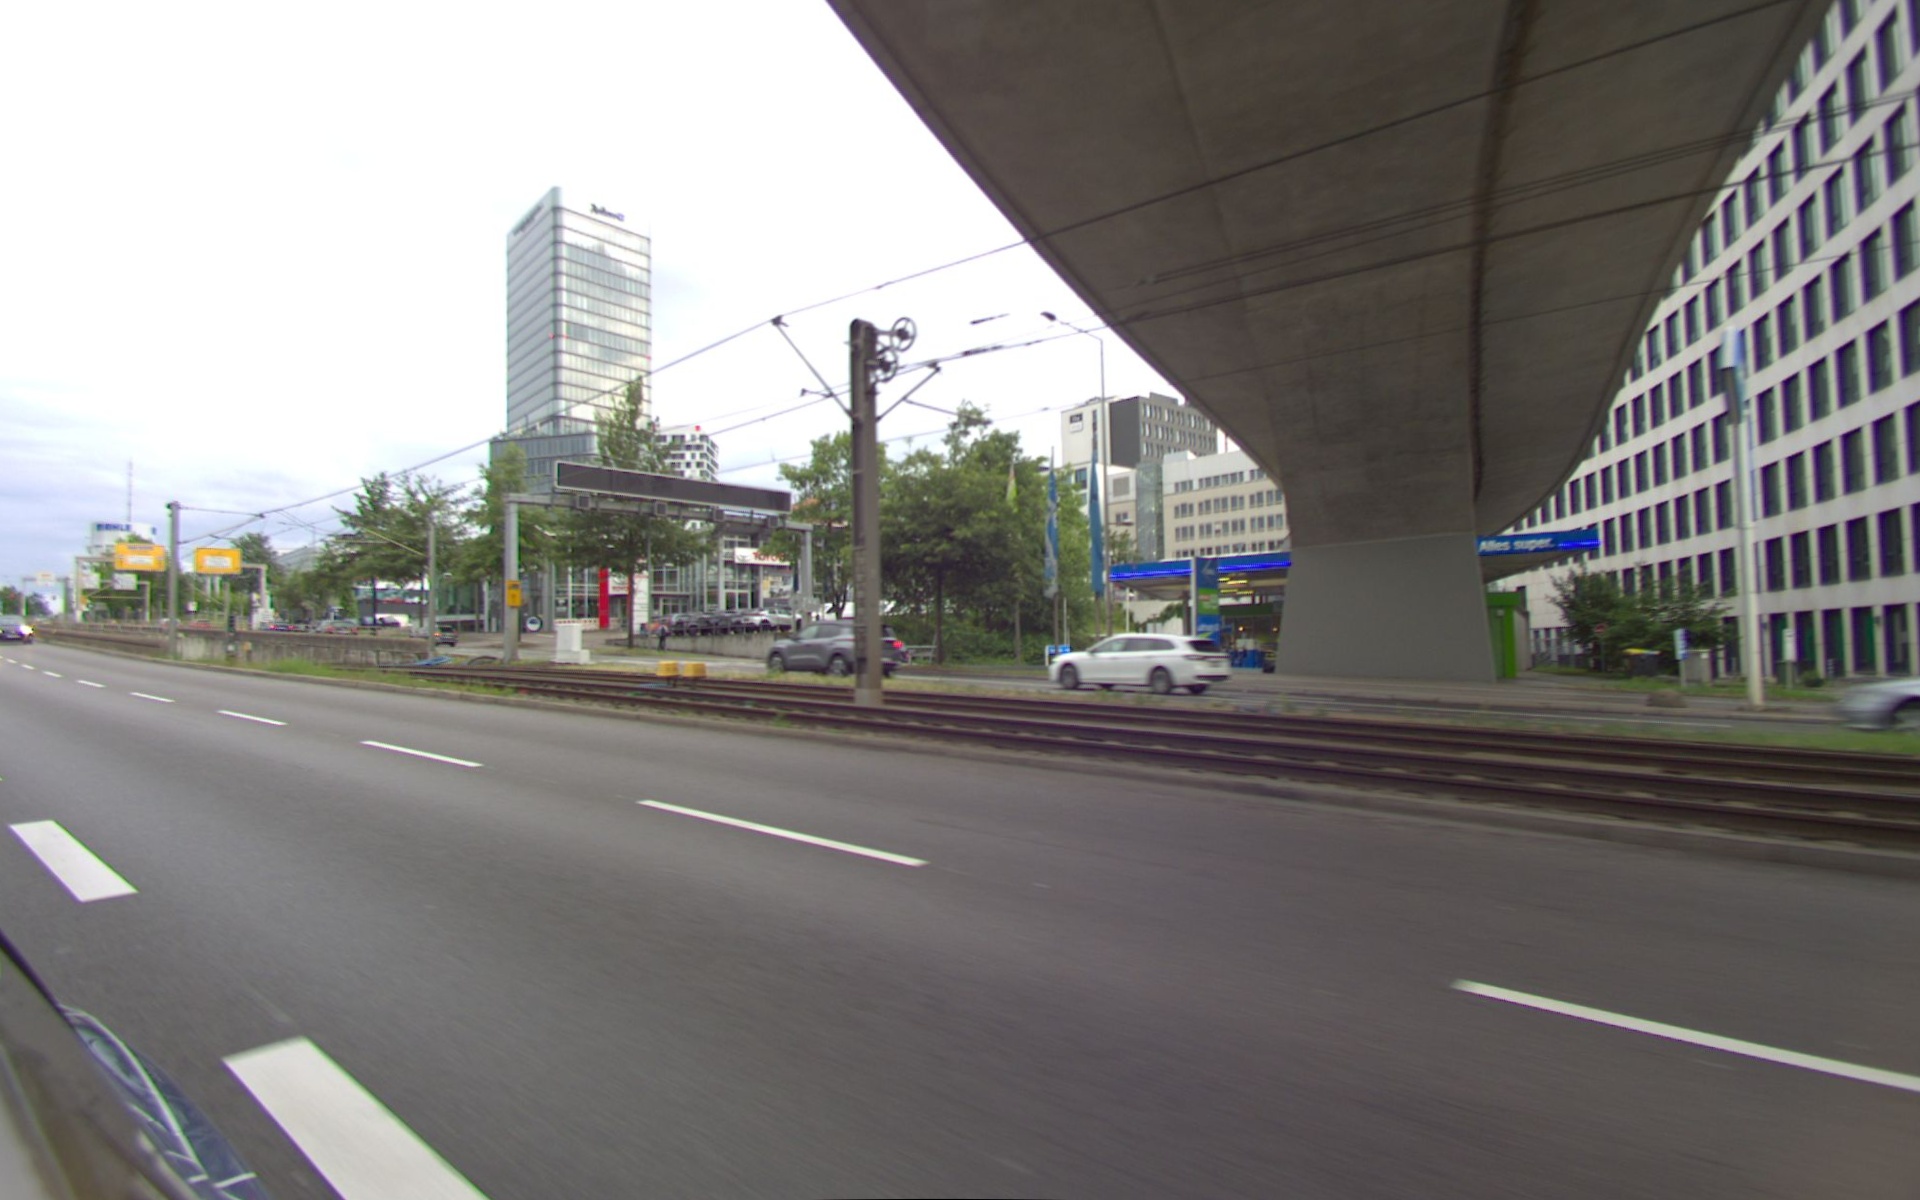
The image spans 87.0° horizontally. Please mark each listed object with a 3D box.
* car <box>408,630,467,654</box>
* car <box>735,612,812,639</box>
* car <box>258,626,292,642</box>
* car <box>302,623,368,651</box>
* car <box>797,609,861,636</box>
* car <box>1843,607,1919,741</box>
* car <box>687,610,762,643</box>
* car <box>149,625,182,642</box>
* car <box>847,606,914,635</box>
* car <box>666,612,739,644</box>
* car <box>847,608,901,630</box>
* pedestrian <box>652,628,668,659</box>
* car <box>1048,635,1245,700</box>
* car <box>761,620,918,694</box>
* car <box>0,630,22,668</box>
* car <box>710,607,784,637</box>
[{"bbox_3d":[-35.749,2.879,69.199,4.564,1.540,2.026,-2,-1,40],"label":"car"},{"bbox_3d":[-11.396,1.549,61.922,4.302,1.515,1.887,0,0,-44],"label":"car"},{"bbox_3d":[-61.366,3.059,90.637,4.113,1.319,1.746,0,0,45],"label":"car"},{"bbox_3d":[-36.771,2.190,59.504,4.757,1.550,2.026,-2,-1,41],"label":"car"},{"bbox_3d":[-9.282,1.556,71.958,4.302,1.828,1.887,0,0,-44],"label":"car"},{"bbox_3d":[13.579,0.854,11.856,4.791,1.610,1.745,-3,-1,43],"label":"car"},{"bbox_3d":[-15.091,1.664,64.972,4.302,1.962,1.887,0,0,-44],"label":"car"},{"bbox_3d":[-72.485,3.002,92.321,4.876,1.411,1.769,0,0,44],"label":"car"},{"bbox_3d":[-5.351,1.374,68.702,4.302,1.828,1.887,0,0,-44],"label":"car"},{"bbox_3d":[-16.867,1.778,66.443,4.302,1.962,1.887,0,0,-44],"label":"car"},{"bbox_3d":[-6.488,1.395,76.746,3.862,1.605,1.804,0,0,-44],"label":"car"},{"bbox_3d":[-18.152,2.615,61.251,0.637,1.809,0.679,-1,0,44],"label":"pedestrian"},{"bbox_3d":[4.640,1.687,25.688,4.658,1.509,1.898,-3,-5,45],"label":"car"},{"bbox_3d":[-3.309,1.499,27.370,4.223,1.790,1.900,-3,-1,42],"label":"car"},{"bbox_3d":[-51.221,2.575,53.874,1.769,1.882,4.380,0,0,-45],"label":"car"},{"bbox_3d":[-13.280,1.353,63.221,4.138,1.785,1.887,0,0,-44],"label":"car"}]
